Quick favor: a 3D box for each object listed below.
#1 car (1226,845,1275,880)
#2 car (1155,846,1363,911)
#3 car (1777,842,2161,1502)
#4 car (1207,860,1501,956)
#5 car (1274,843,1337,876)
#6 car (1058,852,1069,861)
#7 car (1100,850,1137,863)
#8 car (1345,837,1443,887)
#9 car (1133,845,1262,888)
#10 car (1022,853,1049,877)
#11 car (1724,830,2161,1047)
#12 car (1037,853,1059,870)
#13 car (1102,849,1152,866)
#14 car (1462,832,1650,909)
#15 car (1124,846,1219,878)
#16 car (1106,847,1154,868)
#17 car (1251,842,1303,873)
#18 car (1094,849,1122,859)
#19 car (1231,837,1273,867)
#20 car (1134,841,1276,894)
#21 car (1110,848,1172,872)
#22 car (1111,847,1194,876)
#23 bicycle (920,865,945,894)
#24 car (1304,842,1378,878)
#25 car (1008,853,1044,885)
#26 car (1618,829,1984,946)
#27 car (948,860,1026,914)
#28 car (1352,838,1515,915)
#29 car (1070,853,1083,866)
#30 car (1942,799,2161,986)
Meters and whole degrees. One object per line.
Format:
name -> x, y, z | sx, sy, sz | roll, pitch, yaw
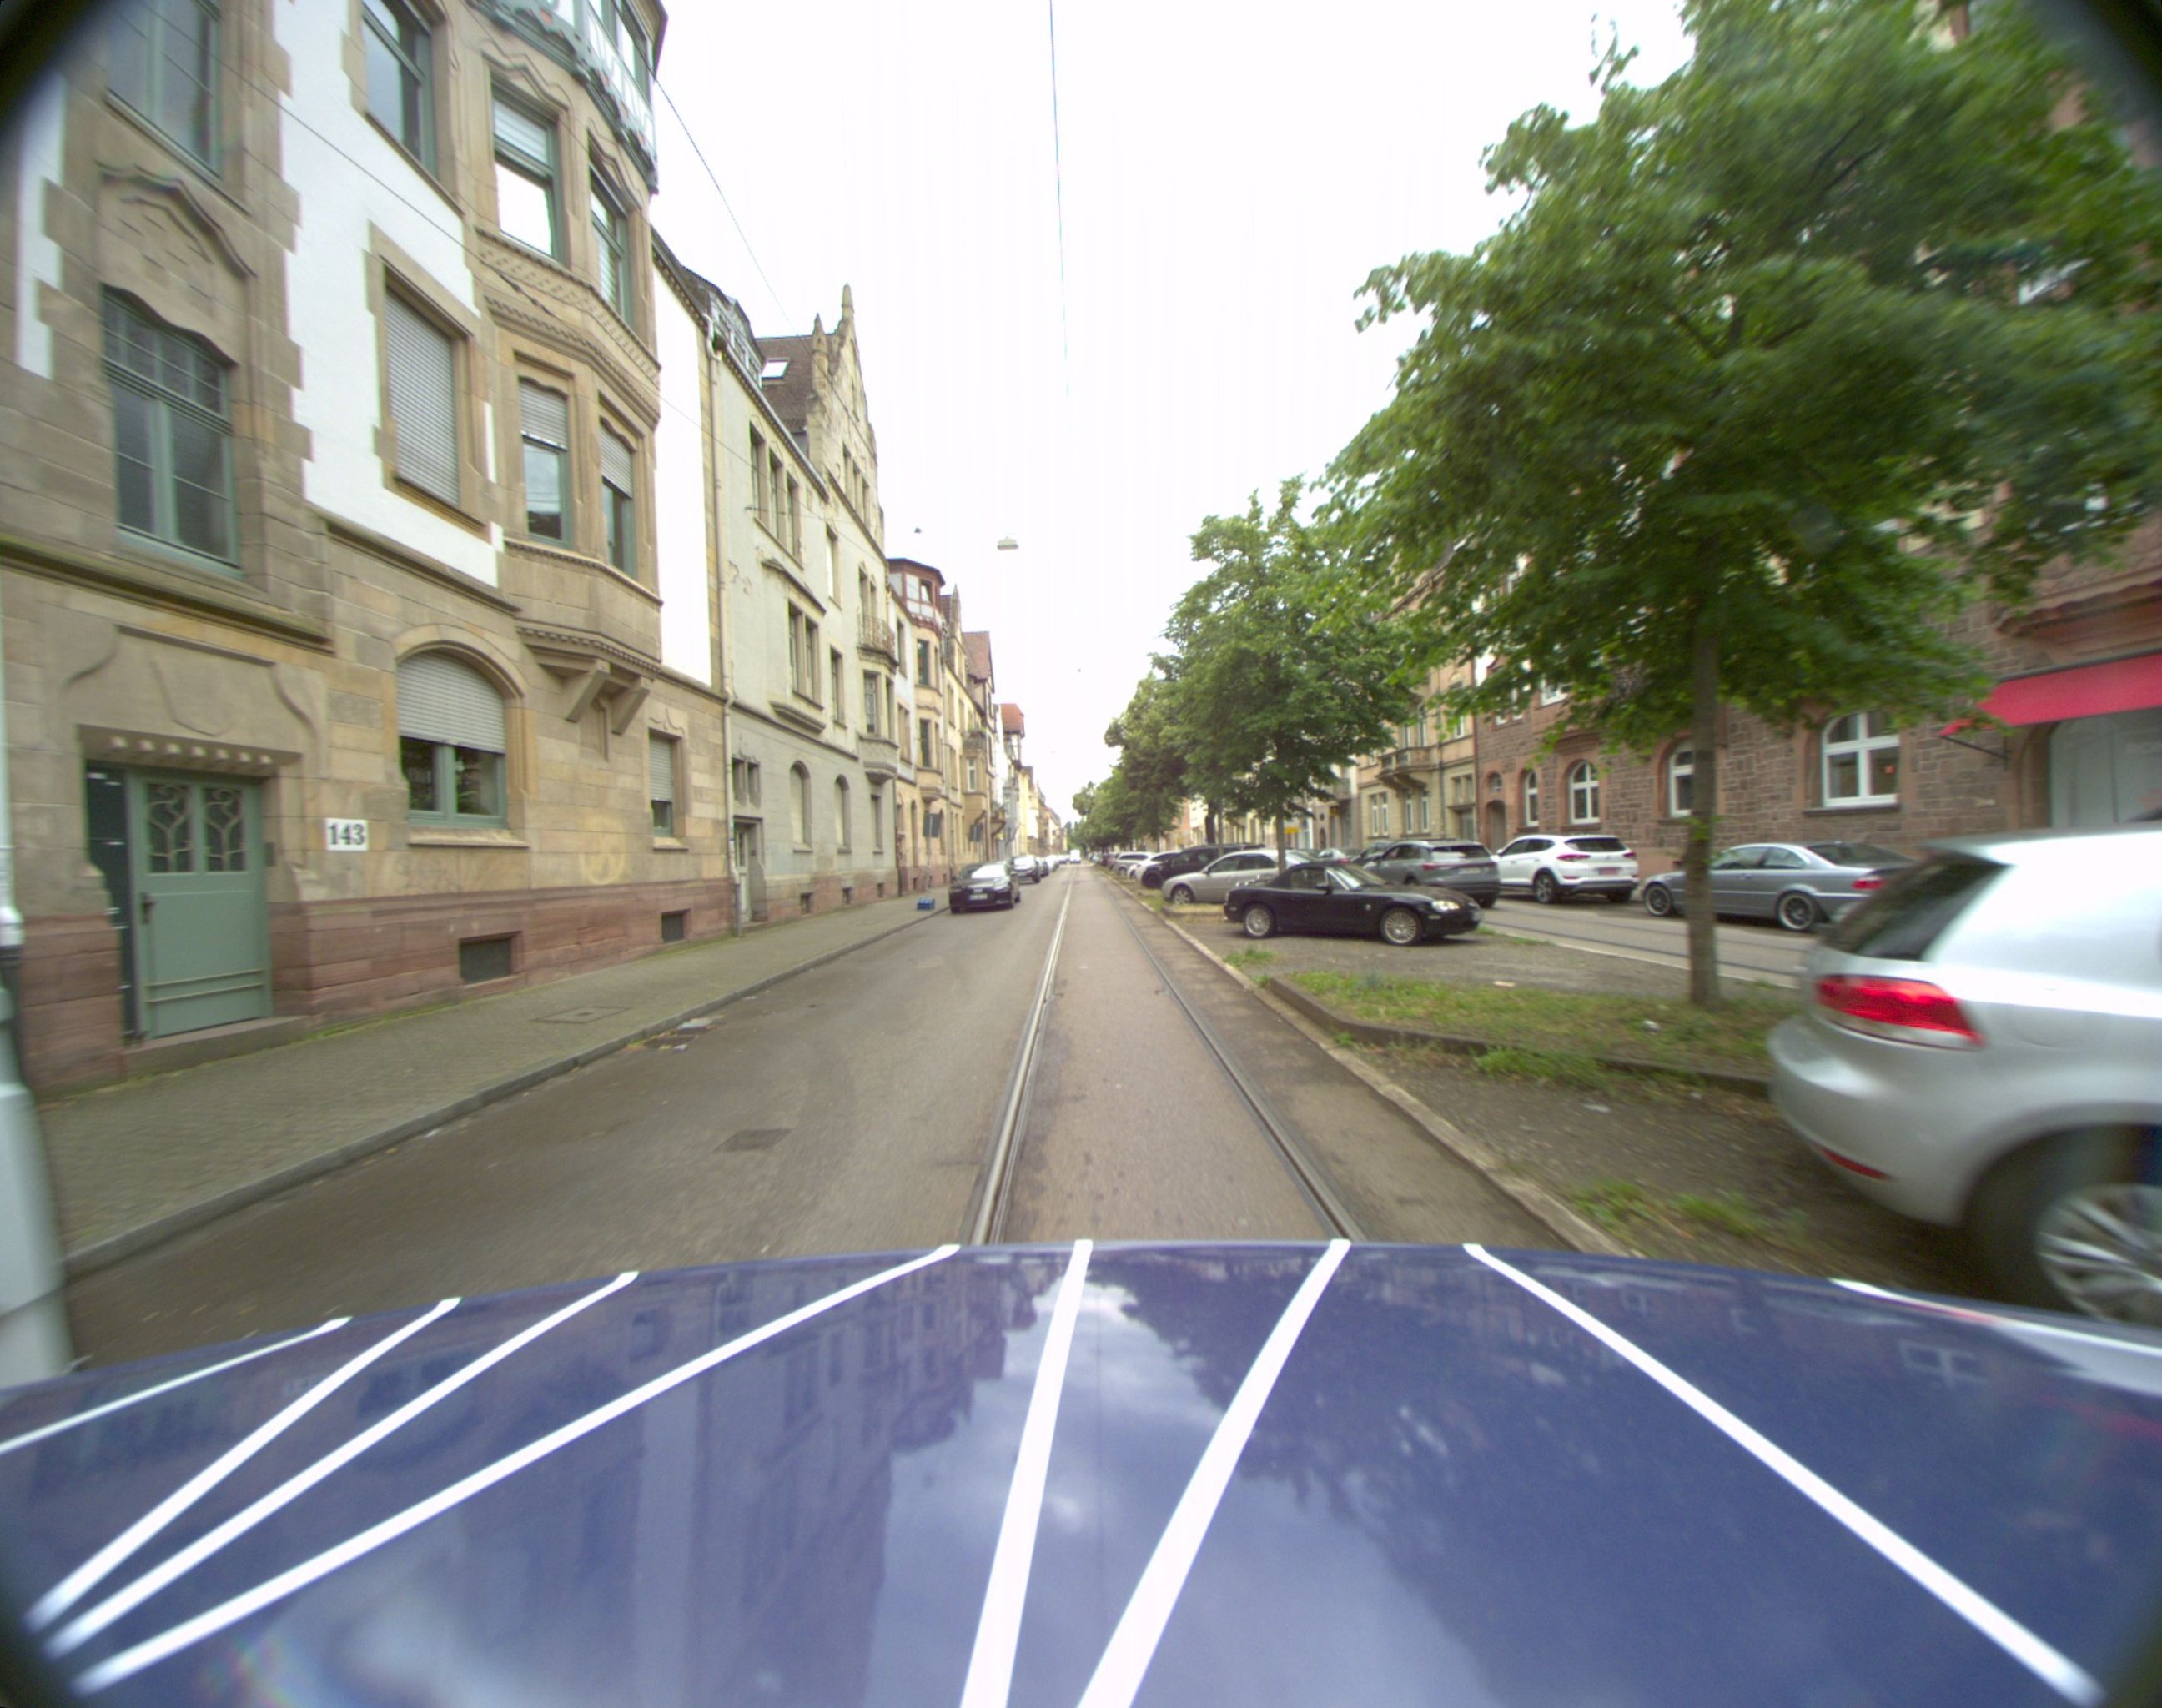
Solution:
car -> 7.944, 0.355, 35.770 | 1.608, 1.506, 2.892 | -2, 1, -1
car -> 4.257, 0.594, 18.708 | 4.655, 1.360, 1.761 | -2, 1, 43
car -> 4.179, 0.693, 1.463 | 4.106, 1.475, 1.800 | -2, 1, 41
car -> 4.126, 0.763, 11.881 | 3.952, 1.195, 1.671 | -2, 1, 44
car -> 11.356, 0.235, 38.722 | 1.809, 1.481, 4.386 | -2, 1, -1
car -> -3.063, 0.405, 133.185 | 1.676, 1.520, 4.212 | -3, 1, 0
car -> 4.413, 0.261, 89.665 | 3.989, 1.407, 1.902 | -2, -1, 38
car -> 11.518, 0.246, 28.270 | 1.773, 1.619, 4.319 | -2, 1, -1
car -> 4.402, 0.477, 29.200 | 4.529, 1.482, 2.040 | -2, 1, 44
car -> -3.241, 0.748, 55.219 | 1.702, 1.504, 4.419 | -5, 0, -2
car -> 8.452, 0.571, 6.669 | 1.648, 1.495, 4.621 | -2, 1, -1
car -> -3.274, 0.740, 76.240 | 1.793, 1.504, 4.213 | -5, 0, 1
car -> 4.299, 0.348, 71.998 | 1.889, 1.458, 4.595 | -3, 1, -44
car -> 11.493, 0.334, 18.822 | 1.745, 1.617, 4.553 | -2, 1, -1
car -> 4.295, 0.398, 36.424 | 4.119, 1.304, 1.867 | -3, 1, 43
car -> 4.153, 0.320, 64.454 | 3.803, 1.518, 1.678 | -4, 0, 45
car -> 11.454, 0.166, 44.666 | 1.809, 1.670, 4.272 | -2, 1, -1
car -> 4.283, 0.004, 121.141 | 3.989, 1.602, 1.902 | -2, -1, 31
car -> 11.702, -0.136, 52.253 | 1.855, 1.860, 4.431 | -2, 0, 1
car -> 4.136, 0.463, 25.901 | 4.520, 1.624, 1.768 | -2, 1, 44
car -> 4.260, 0.451, 54.160 | 4.195, 1.600, 1.728 | -1, 2, 41
car -> 4.068, 0.425, 43.792 | 1.867, 1.484, 4.552 | -4, 1, -44
bicycle -> -6.398, 1.066, 32.724 | 0.612, 1.120, 1.916 | -5, 0, 0
car -> 11.604, 0.238, 34.169 | 1.809, 1.430, 4.229 | -2, 1, -1
car -> -3.084, 0.814, 43.364 | 1.764, 1.613, 4.693 | -3, 0, -2
car -> 11.440, 0.430, 12.645 | 1.745, 1.533, 4.553 | -2, 1, -1
car -> -2.859, 0.959, 24.190 | 1.805, 1.430, 5.195 | -3, 0, 0
car -> 8.394, 0.454, 18.626 | 1.809, 1.570, 4.546 | -2, 1, -1
car -> -0.779, 0.842, 126.619 | 1.999, 2.002, 3.999 | -2, 1, 0
car -> 11.144, 0.340, 6.451 | 1.818, 1.771, 5.116 | -2, 1, -1
